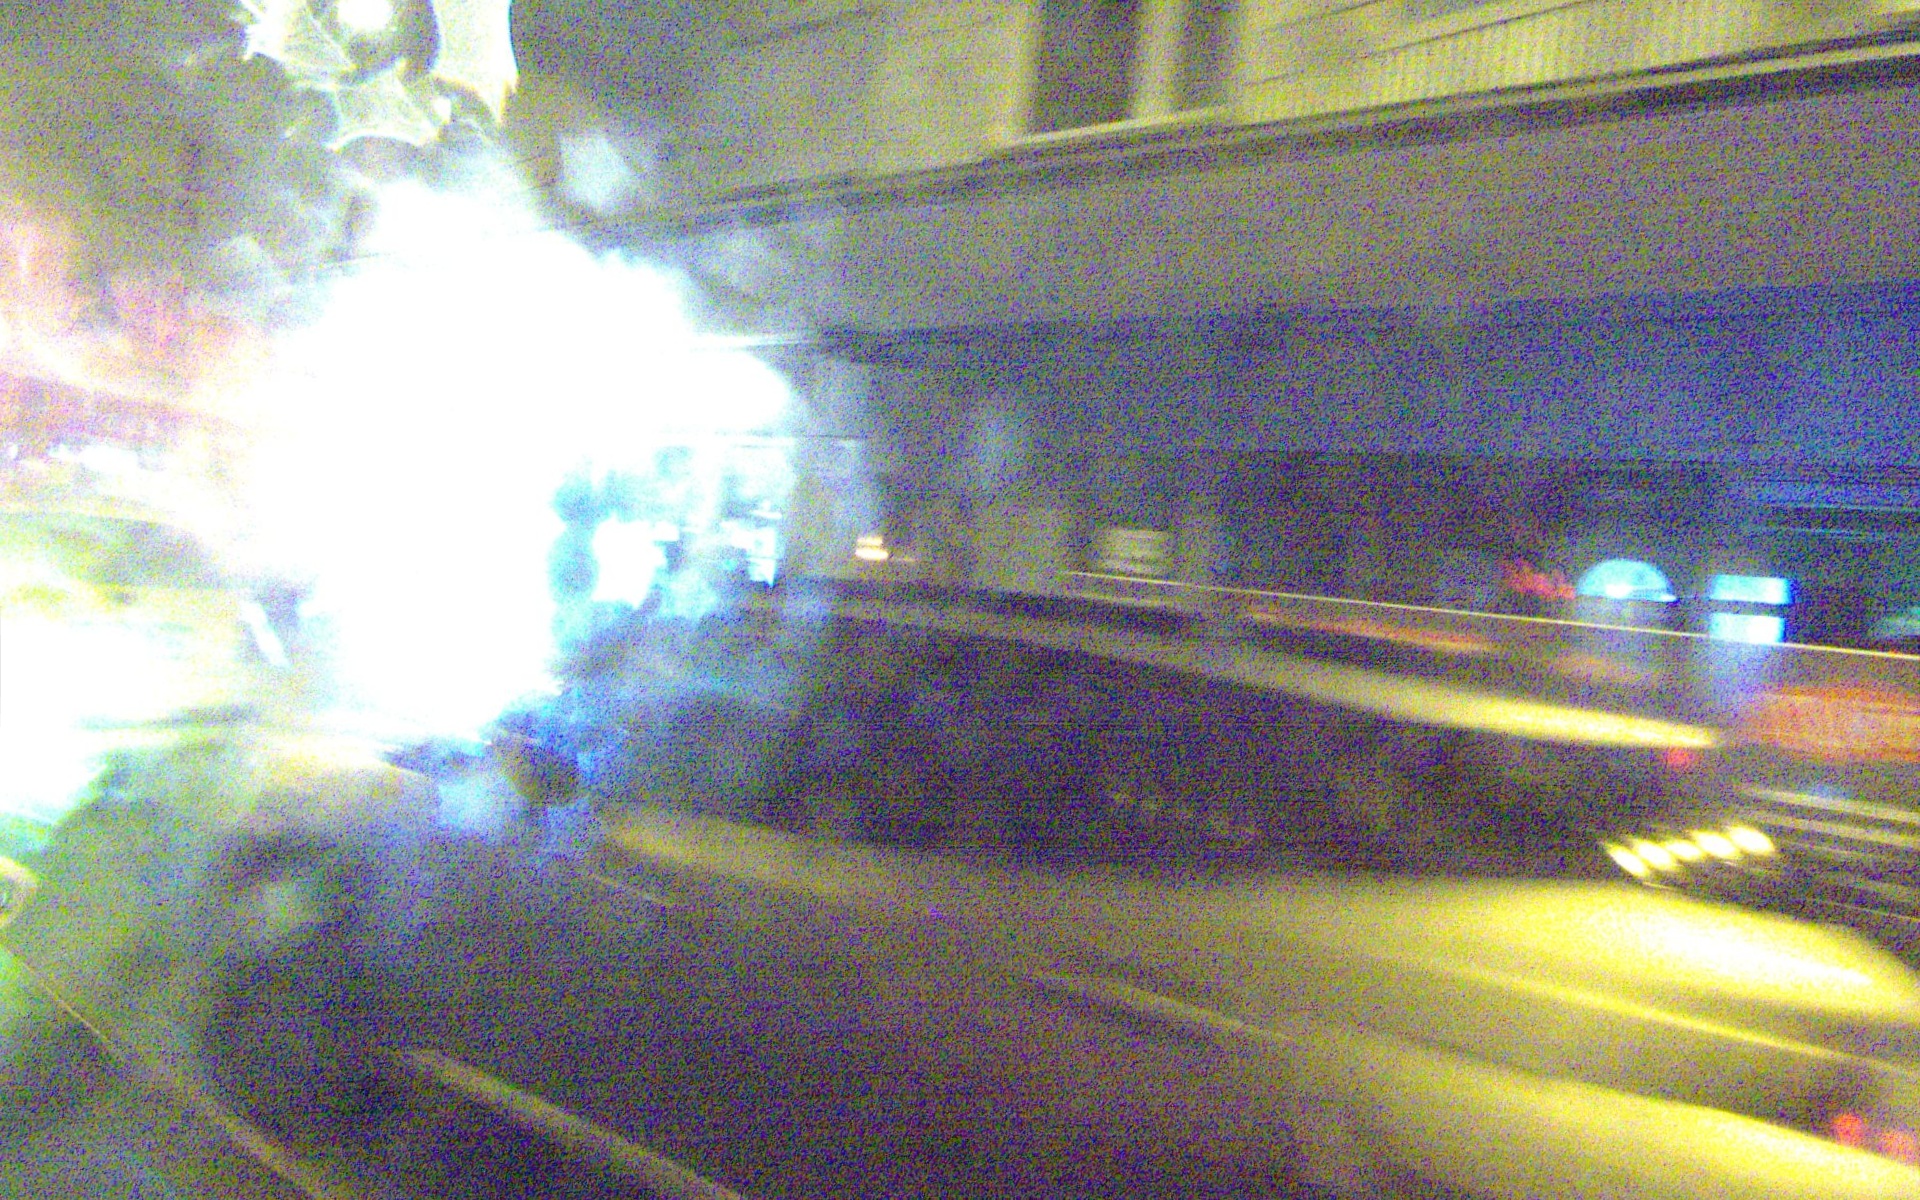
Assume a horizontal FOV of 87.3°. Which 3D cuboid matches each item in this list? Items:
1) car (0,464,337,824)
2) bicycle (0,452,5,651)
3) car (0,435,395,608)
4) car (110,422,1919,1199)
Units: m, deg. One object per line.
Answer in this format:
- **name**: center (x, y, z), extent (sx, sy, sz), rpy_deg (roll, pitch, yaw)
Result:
- **car**: center (-5.319, 0.100, 5.697), extent (3.363, 1.561, 1.594), rpy_deg (6, -1, 32)
- **bicycle**: center (-9.121, -0.463, 7.887), extent (0.876, 1.662, 2.313), rpy_deg (7, 4, 42)
- **car**: center (-12.128, -1.119, 16.239), extent (2.091, 1.945, 4.825), rpy_deg (7, -1, 23)
- **car**: center (-0.208, 0.553, 2.631), extent (3.922, 1.627, 1.756), rpy_deg (6, -1, 30)
